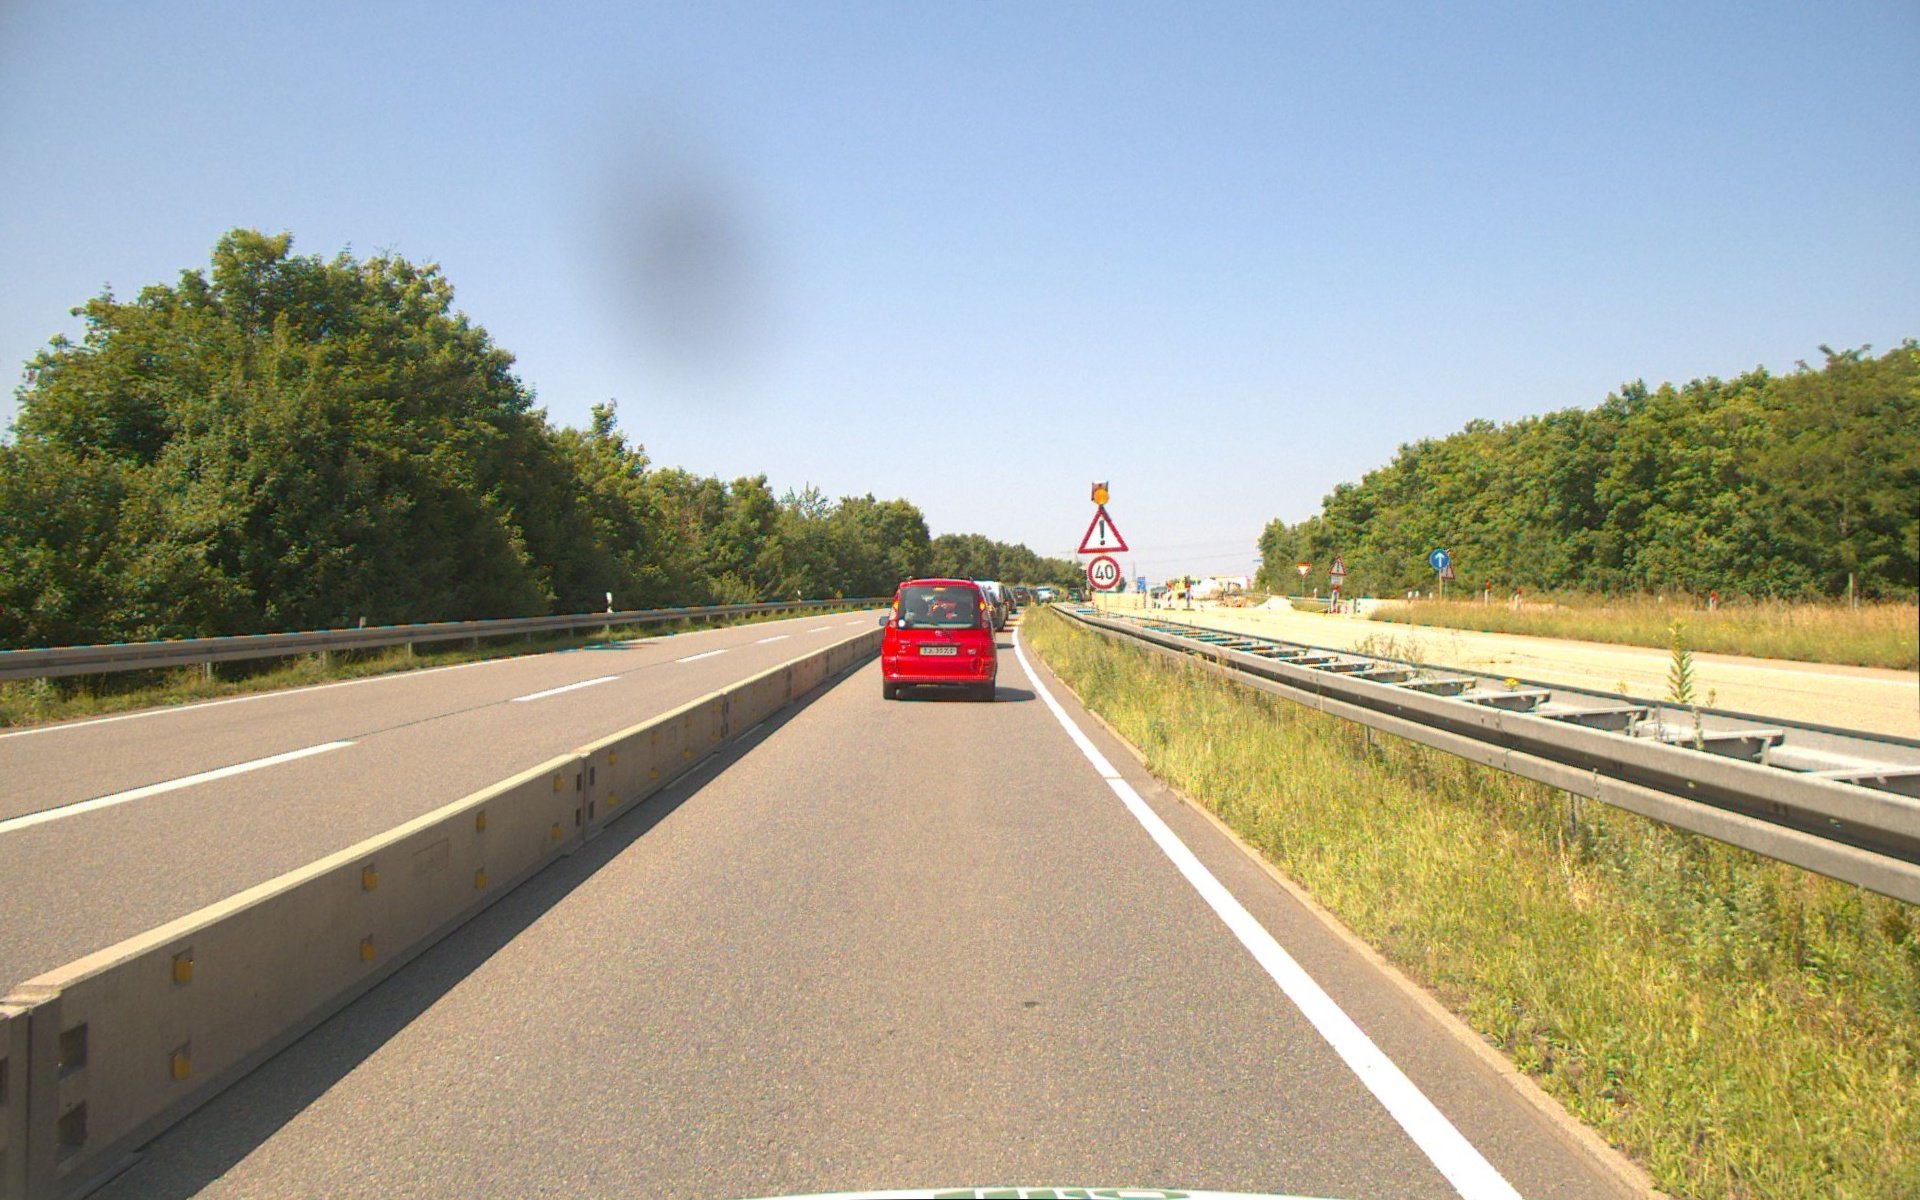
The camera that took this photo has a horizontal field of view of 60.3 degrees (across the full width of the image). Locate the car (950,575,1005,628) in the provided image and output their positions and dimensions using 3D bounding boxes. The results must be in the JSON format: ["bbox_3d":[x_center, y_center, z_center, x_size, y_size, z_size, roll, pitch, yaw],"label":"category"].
[{"bbox_3d":[0.649,0.056,60.685,1.952,1.870,4.000,0,0,1],"label":"car"}]

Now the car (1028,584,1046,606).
[{"bbox_3d":[6.342,-0.440,136.152,1.470,1.767,3.171,0,0,2],"label":"car"}]

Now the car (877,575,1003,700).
[{"bbox_3d":[-0.322,0.508,24.554,1.716,1.702,3.999,0,0,-2],"label":"car"}]

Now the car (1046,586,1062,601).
[{"bbox_3d":[9.568,-0.625,168.066,1.470,1.476,3.172,-1,0,4],"label":"car"}]

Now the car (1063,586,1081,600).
[{"bbox_3d":[13.015,-0.781,191.937,1.952,1.579,4.001,1,0,2],"label":"car"}]

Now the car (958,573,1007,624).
[{"bbox_3d":[0.913,-0.081,69.626,1.953,2.038,3.999,1,0,-1],"label":"car"}]

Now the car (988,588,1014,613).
[{"bbox_3d":[2.427,0.030,97.829,1.470,1.476,3.326,0,0,2],"label":"car"}]

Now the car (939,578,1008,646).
[{"bbox_3d":[0.360,0.305,44.958,1.793,1.752,4.000,0,0,0],"label":"car"}]

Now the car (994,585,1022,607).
[{"bbox_3d":[3.500,-0.306,120.599,1.952,1.612,4.001,0,0,2],"label":"car"}]

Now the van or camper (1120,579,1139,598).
[{"bbox_3d":[24.816,-1.673,242.132,2.280,2.754,4.593,0,0,0],"label":"van or camper"}]

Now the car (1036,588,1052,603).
[{"bbox_3d":[7.713,-0.418,152.155,1.391,1.321,2.880,0,0,4],"label":"car"}]

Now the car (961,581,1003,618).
[{"bbox_3d":[1.052,-0.051,82.047,1.953,1.780,3.999,0,0,-1],"label":"car"}]
